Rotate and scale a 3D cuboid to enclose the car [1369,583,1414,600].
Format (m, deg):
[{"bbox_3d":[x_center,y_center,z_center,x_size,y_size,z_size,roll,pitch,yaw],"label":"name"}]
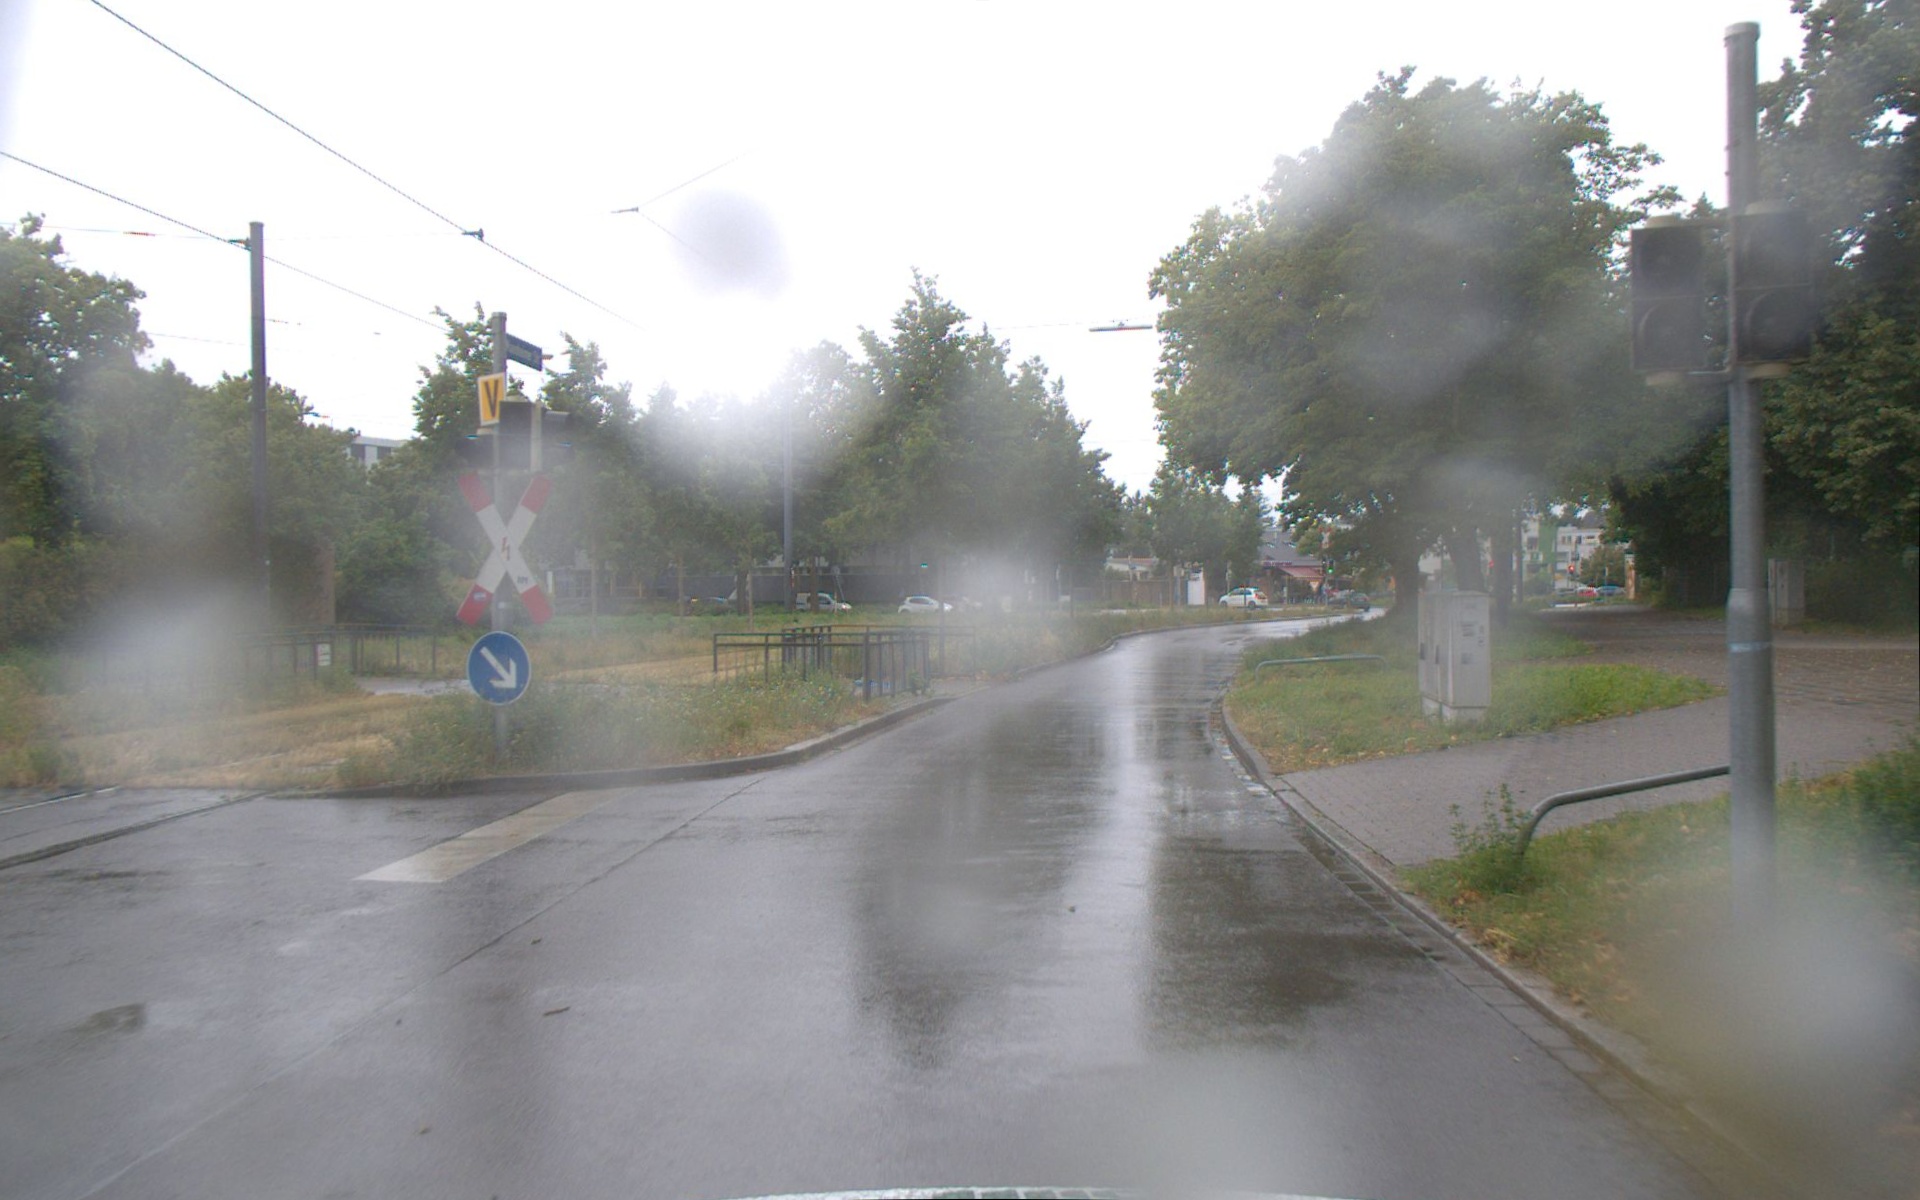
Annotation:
[{"bbox_3d":[39.490,-0.739,151.317,3.679,1.467,1.760,-1,0,29],"label":"car"}]

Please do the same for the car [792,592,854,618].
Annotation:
[{"bbox_3d":[-9.937,0.365,119.695,4.119,1.828,1.654,-1,1,13],"label":"car"}]

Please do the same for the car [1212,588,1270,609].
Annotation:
[{"bbox_3d":[20.566,-0.109,121.045,3.921,1.445,1.532,-1,1,37],"label":"car"}]

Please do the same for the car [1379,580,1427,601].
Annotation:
[{"bbox_3d":[41.296,-0.881,154.235,4.061,1.892,1.669,-1,-1,33],"label":"car"}]

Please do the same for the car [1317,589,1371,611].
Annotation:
[{"bbox_3d":[25.863,-0.002,111.498,1.661,1.445,3.788,-1,0,-23],"label":"car"}]

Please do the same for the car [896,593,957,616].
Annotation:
[{"bbox_3d":[-2.369,0.322,117.254,3.979,1.525,1.653,-1,0,15],"label":"car"}]

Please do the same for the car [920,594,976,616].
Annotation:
[{"bbox_3d":[-0.889,0.367,120.669,3.737,1.525,1.653,-1,0,15],"label":"car"}]
